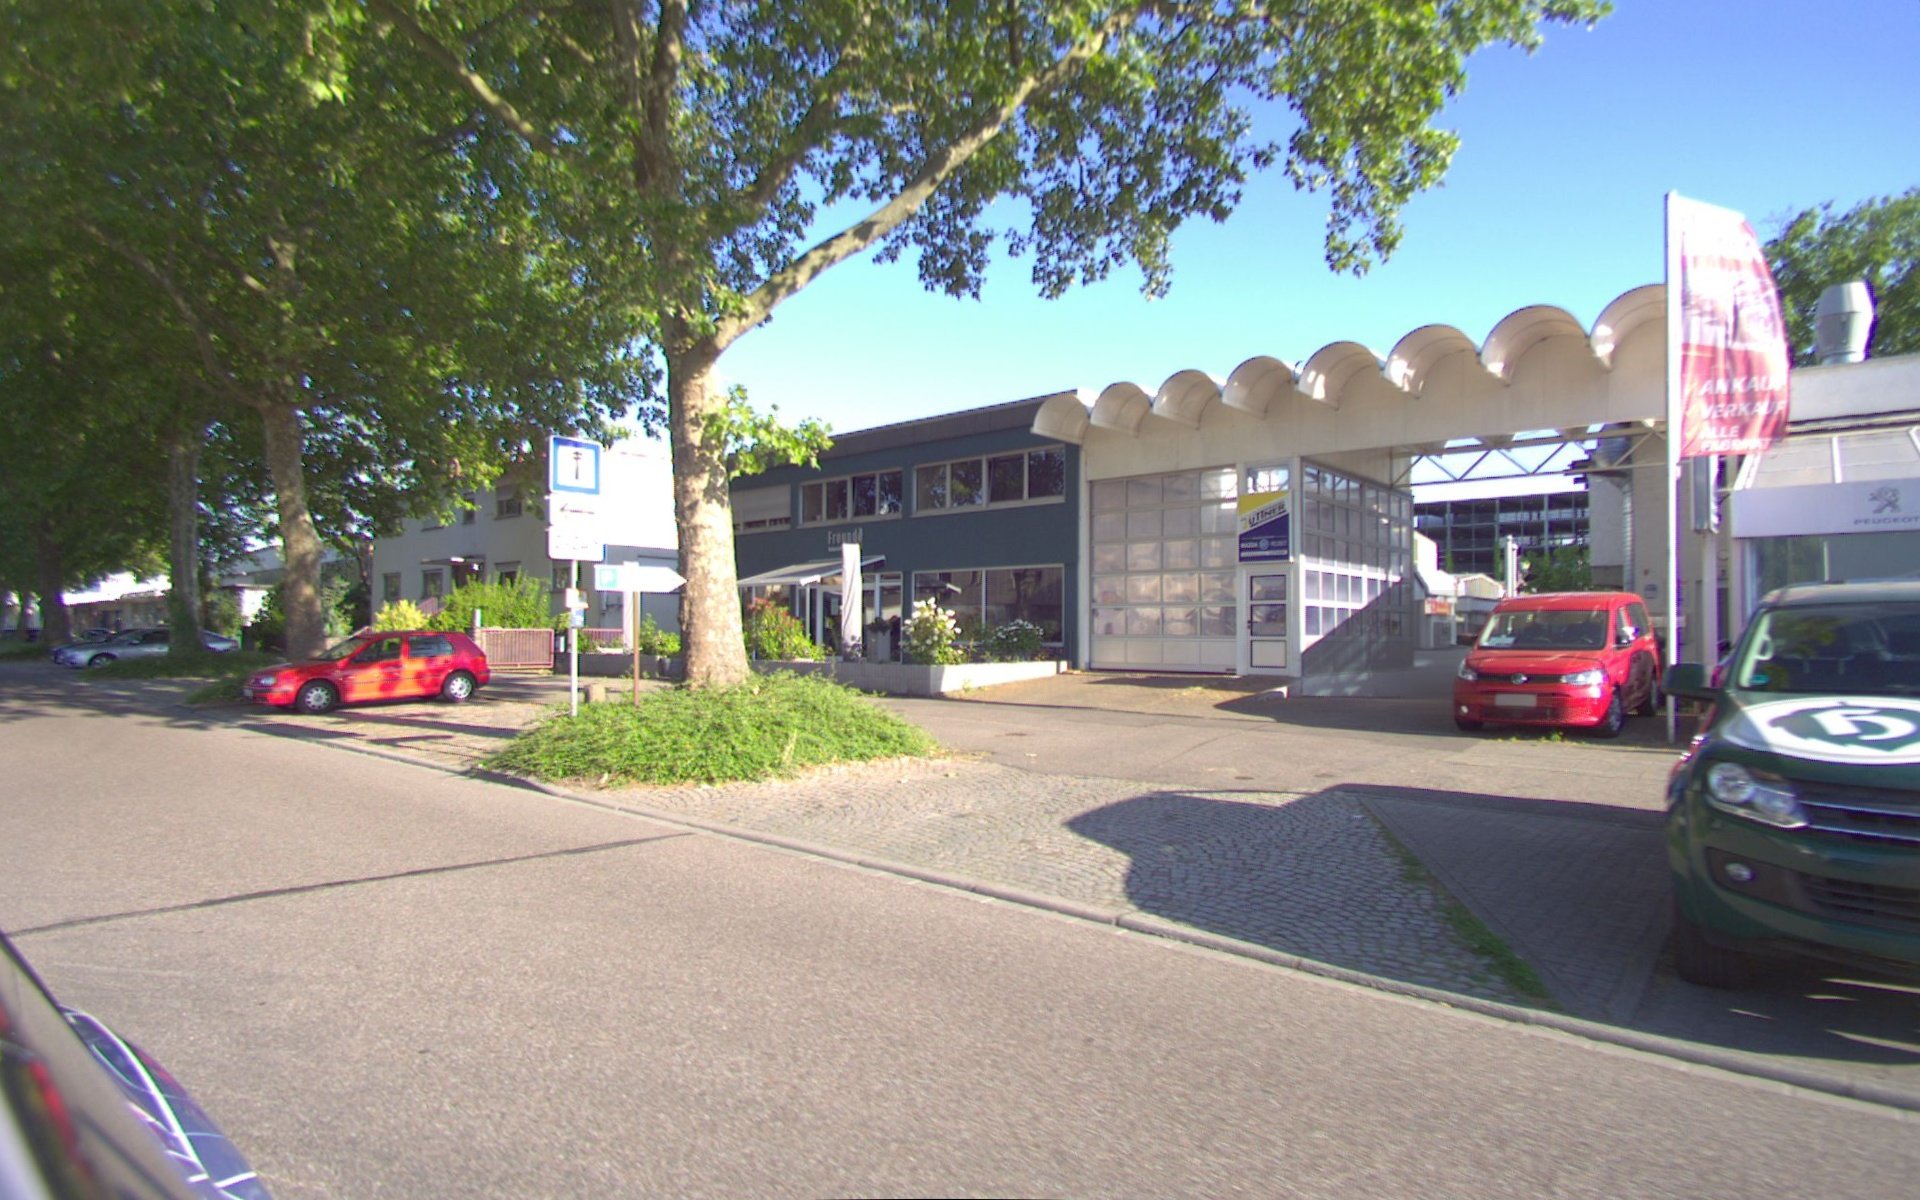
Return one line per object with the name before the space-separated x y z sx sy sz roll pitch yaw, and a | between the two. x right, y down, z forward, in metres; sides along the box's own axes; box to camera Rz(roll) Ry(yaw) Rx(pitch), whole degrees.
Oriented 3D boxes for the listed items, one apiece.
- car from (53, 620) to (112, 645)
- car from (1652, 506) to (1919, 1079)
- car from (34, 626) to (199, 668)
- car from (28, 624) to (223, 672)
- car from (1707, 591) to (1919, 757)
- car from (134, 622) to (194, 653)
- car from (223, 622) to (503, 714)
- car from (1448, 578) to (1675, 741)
car | -55.756 2.063 64.307 3.914 1.380 1.975 -1 -6 37
car | 5.164 0.647 5.125 2.200 1.913 5.205 -1 -1 40
car | -30.600 1.676 36.831 1.998 1.433 4.311 -2 -2 39
car | -26.684 1.517 32.482 1.999 1.433 4.552 -2 -3 40
car | 10.490 0.751 12.338 1.998 1.646 4.666 -1 -1 39
car | -43.841 2.038 55.726 4.273 1.588 1.972 -1 -1 43
car | -11.351 1.211 19.469 1.999 1.457 4.252 -1 0 40
car | 8.375 0.688 13.875 1.998 1.833 4.698 -1 -1 39
